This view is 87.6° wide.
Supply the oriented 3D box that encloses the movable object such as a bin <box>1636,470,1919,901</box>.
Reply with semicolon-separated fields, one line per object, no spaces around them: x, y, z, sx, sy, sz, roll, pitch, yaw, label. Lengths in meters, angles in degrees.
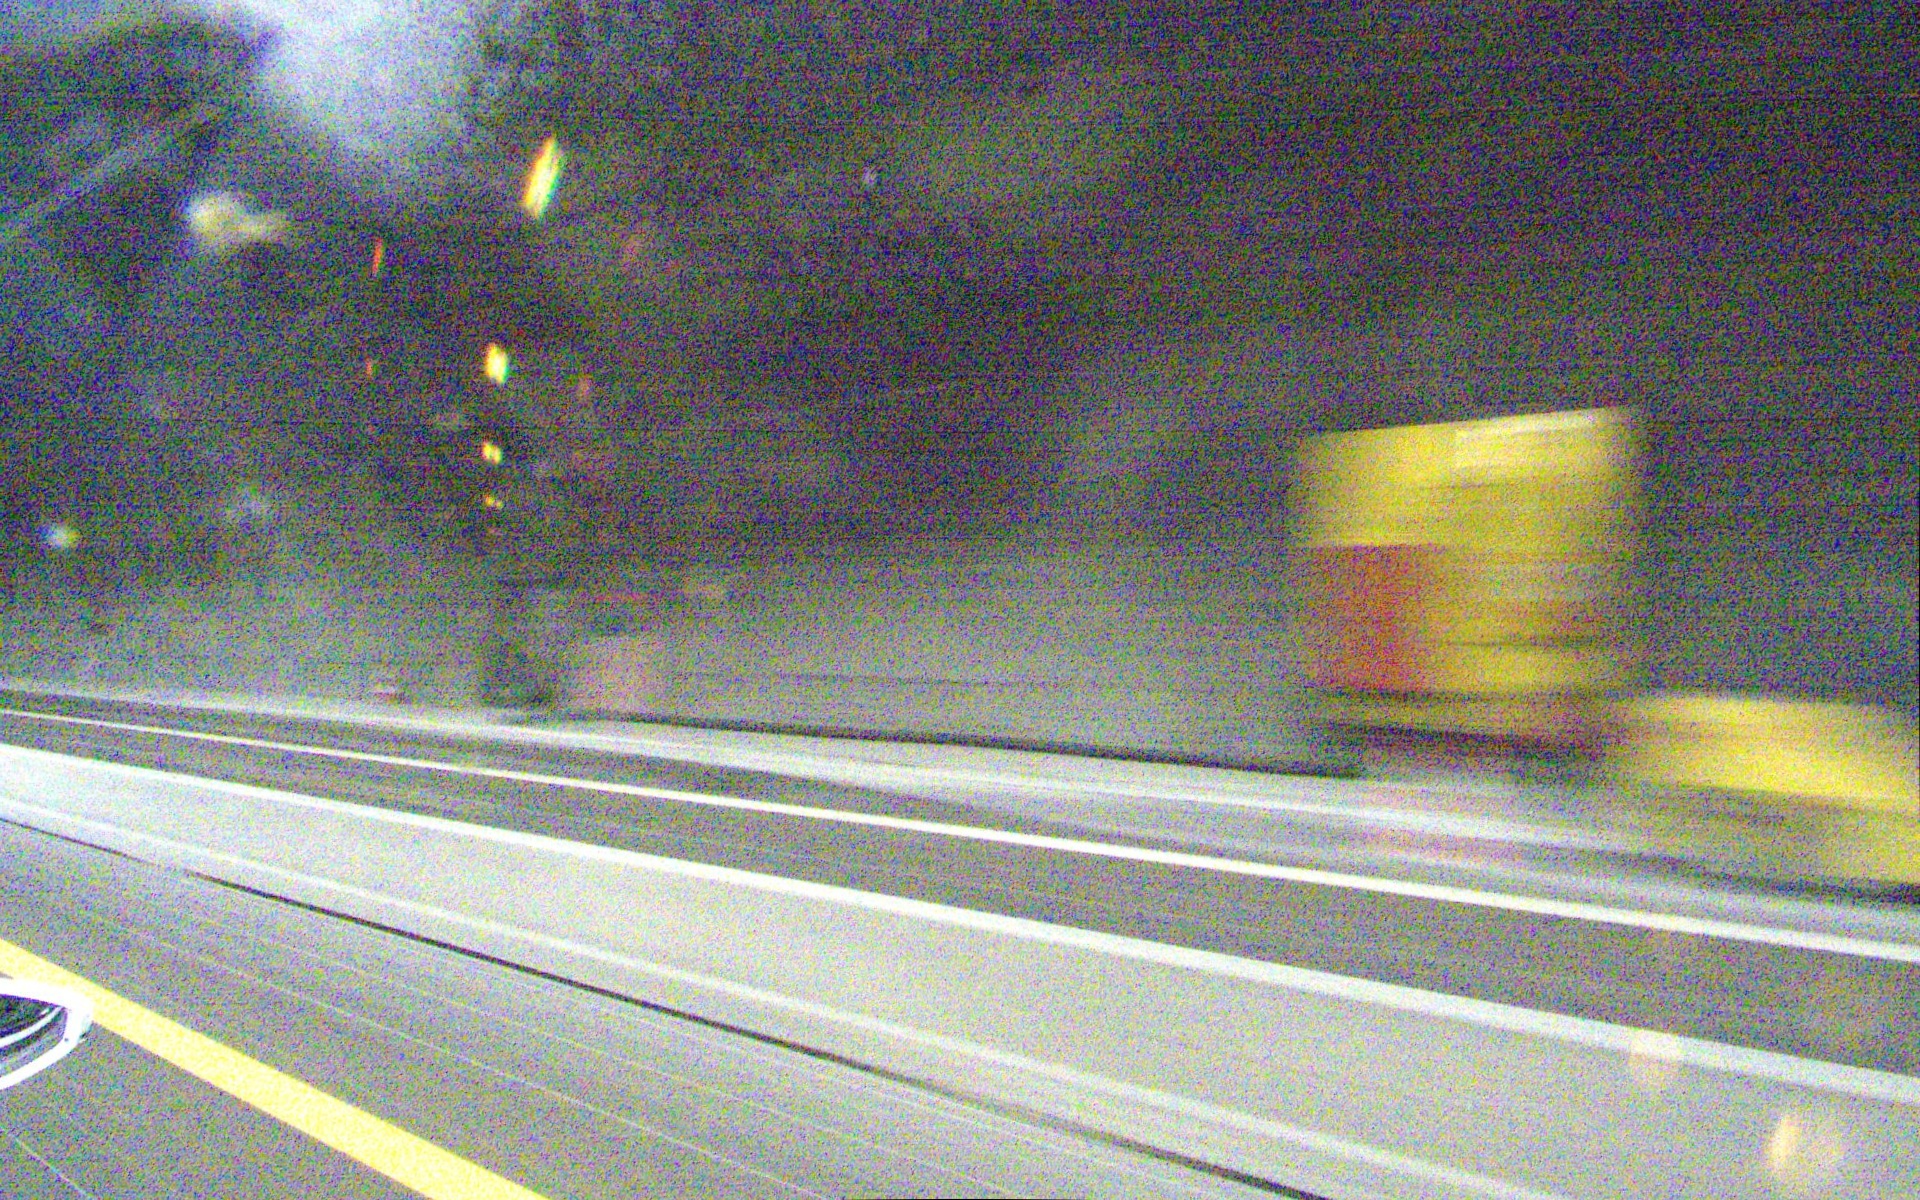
6.289;0.433;5.141;4.561;2.173;1.681;-1;-2;32;movable object such as a bin
